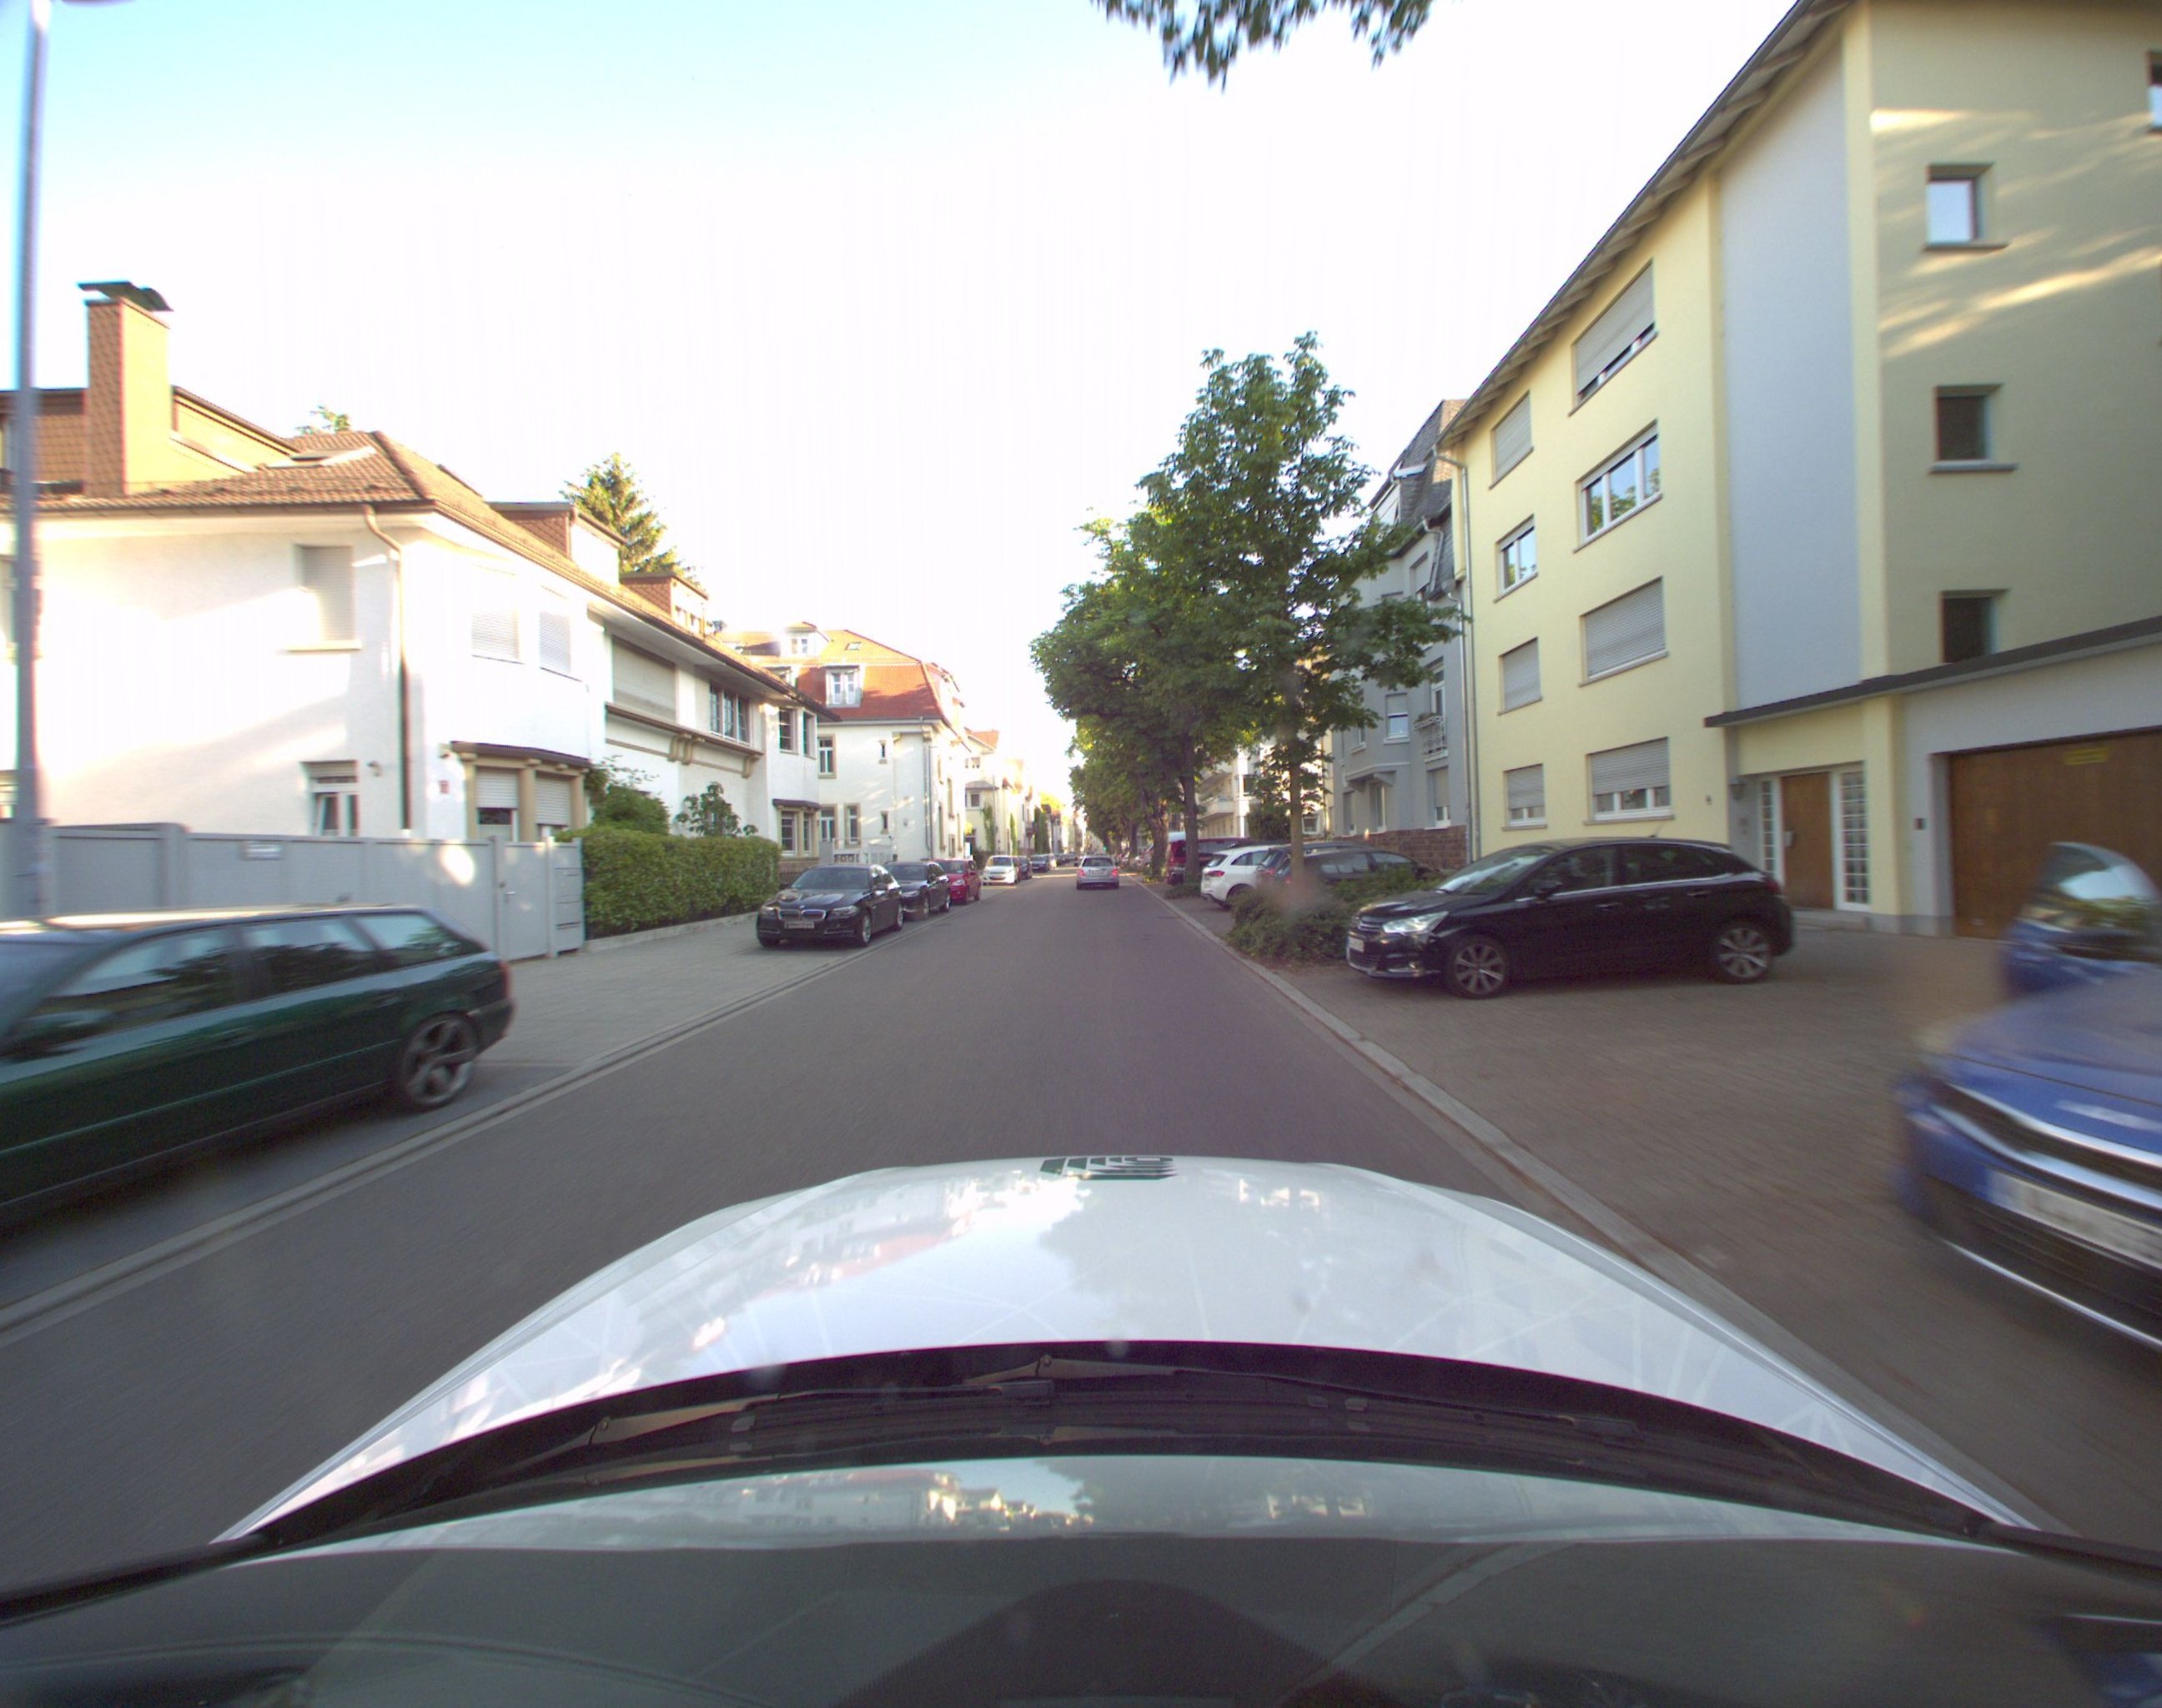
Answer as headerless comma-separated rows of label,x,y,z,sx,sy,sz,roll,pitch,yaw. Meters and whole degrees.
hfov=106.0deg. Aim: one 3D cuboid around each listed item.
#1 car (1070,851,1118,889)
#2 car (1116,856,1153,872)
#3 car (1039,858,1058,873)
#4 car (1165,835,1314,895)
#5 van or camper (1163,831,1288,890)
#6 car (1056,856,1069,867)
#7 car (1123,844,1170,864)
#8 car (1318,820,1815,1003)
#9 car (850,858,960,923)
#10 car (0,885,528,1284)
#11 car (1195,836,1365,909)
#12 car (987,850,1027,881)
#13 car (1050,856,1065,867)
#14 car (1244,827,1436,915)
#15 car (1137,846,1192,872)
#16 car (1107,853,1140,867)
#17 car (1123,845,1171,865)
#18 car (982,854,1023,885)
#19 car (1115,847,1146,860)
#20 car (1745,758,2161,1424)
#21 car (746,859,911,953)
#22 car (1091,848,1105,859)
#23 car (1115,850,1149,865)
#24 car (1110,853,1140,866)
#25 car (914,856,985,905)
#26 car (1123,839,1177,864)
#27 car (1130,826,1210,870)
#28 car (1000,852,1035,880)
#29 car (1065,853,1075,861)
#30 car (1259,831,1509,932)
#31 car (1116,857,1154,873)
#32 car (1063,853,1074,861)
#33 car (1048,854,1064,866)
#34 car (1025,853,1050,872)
car,0.612,0.649,34.902,1.809,1.473,4.220,-2,-1,4
car,5.615,1.020,86.438,3.830,1.482,1.806,-2,0,1
car,-3.397,1.165,85.877,1.793,1.482,3.858,-2,0,1
car,5.229,0.349,27.281,4.610,1.836,1.954,-1,0,0
van or camper,5.240,0.234,30.042,4.294,2.013,2.002,-1,0,3
car,-2.715,1.101,121.259,1.793,1.387,3.607,-2,0,1
car,5.464,-0.015,68.634,3.830,1.482,1.806,-2,0,1
car,4.921,0.548,8.717,4.177,1.558,1.874,-3,0,-1
car,-4.563,0.885,21.821,1.777,1.497,4.701,-2,0,1
car,-5.070,0.974,4.013,1.751,1.447,4.143,-2,0,1
car,4.828,0.439,20.118,3.719,1.558,1.725,-3,0,-1
car,-4.226,0.688,46.979,1.793,1.644,3.857,-2,-1,1
car,-3.185,1.034,109.455,1.793,1.387,3.607,-2,0,1
car,5.482,0.349,17.548,3.536,1.654,1.725,-3,0,-1
car,5.777,0.320,56.716,3.584,1.659,1.649,-2,0,-2
car,5.099,0.689,96.923,3.830,1.482,1.806,-2,0,1
car,5.343,0.072,66.362,3.830,1.482,1.806,-2,0,1
car,-4.037,0.759,42.394,1.653,1.499,3.755,-2,0,1
car,6.343,-0.080,103.925,3.830,1.482,1.806,-2,0,1
car,4.886,0.487,2.281,4.512,1.640,1.874,-3,0,-1
car,-4.691,0.879,15.916,1.849,1.497,4.651,-2,0,-2
car,2.443,-0.020,115.344,1.809,1.473,4.220,-2,-1,4
car,5.933,0.412,94.390,3.830,1.482,1.806,-2,0,1
car,5.827,0.747,107.992,3.830,1.482,1.806,-2,0,1
car,-4.338,0.844,27.429,1.653,1.488,3.755,-2,0,1
car,6.134,-0.268,72.813,4.505,2.013,2.250,-2,0,-1
car,6.476,-0.455,59.770,5.527,2.968,2.470,-2,0,-2
car,-3.970,0.710,51.561,1.793,1.644,3.858,-2,0,1
car,-2.067,0.564,159.712,1.793,1.387,3.607,-2,0,1
car,5.385,0.466,14.865,3.909,1.558,1.727,-3,1,3
car,5.541,1.111,83.847,3.830,1.482,1.806,-2,0,1
car,-2.327,0.479,151.325,1.793,1.387,3.607,-2,0,1
car,-3.057,0.759,99.840,1.793,1.387,3.607,-2,0,1
car,-3.667,0.719,69.604,1.793,1.482,3.858,-2,0,1
